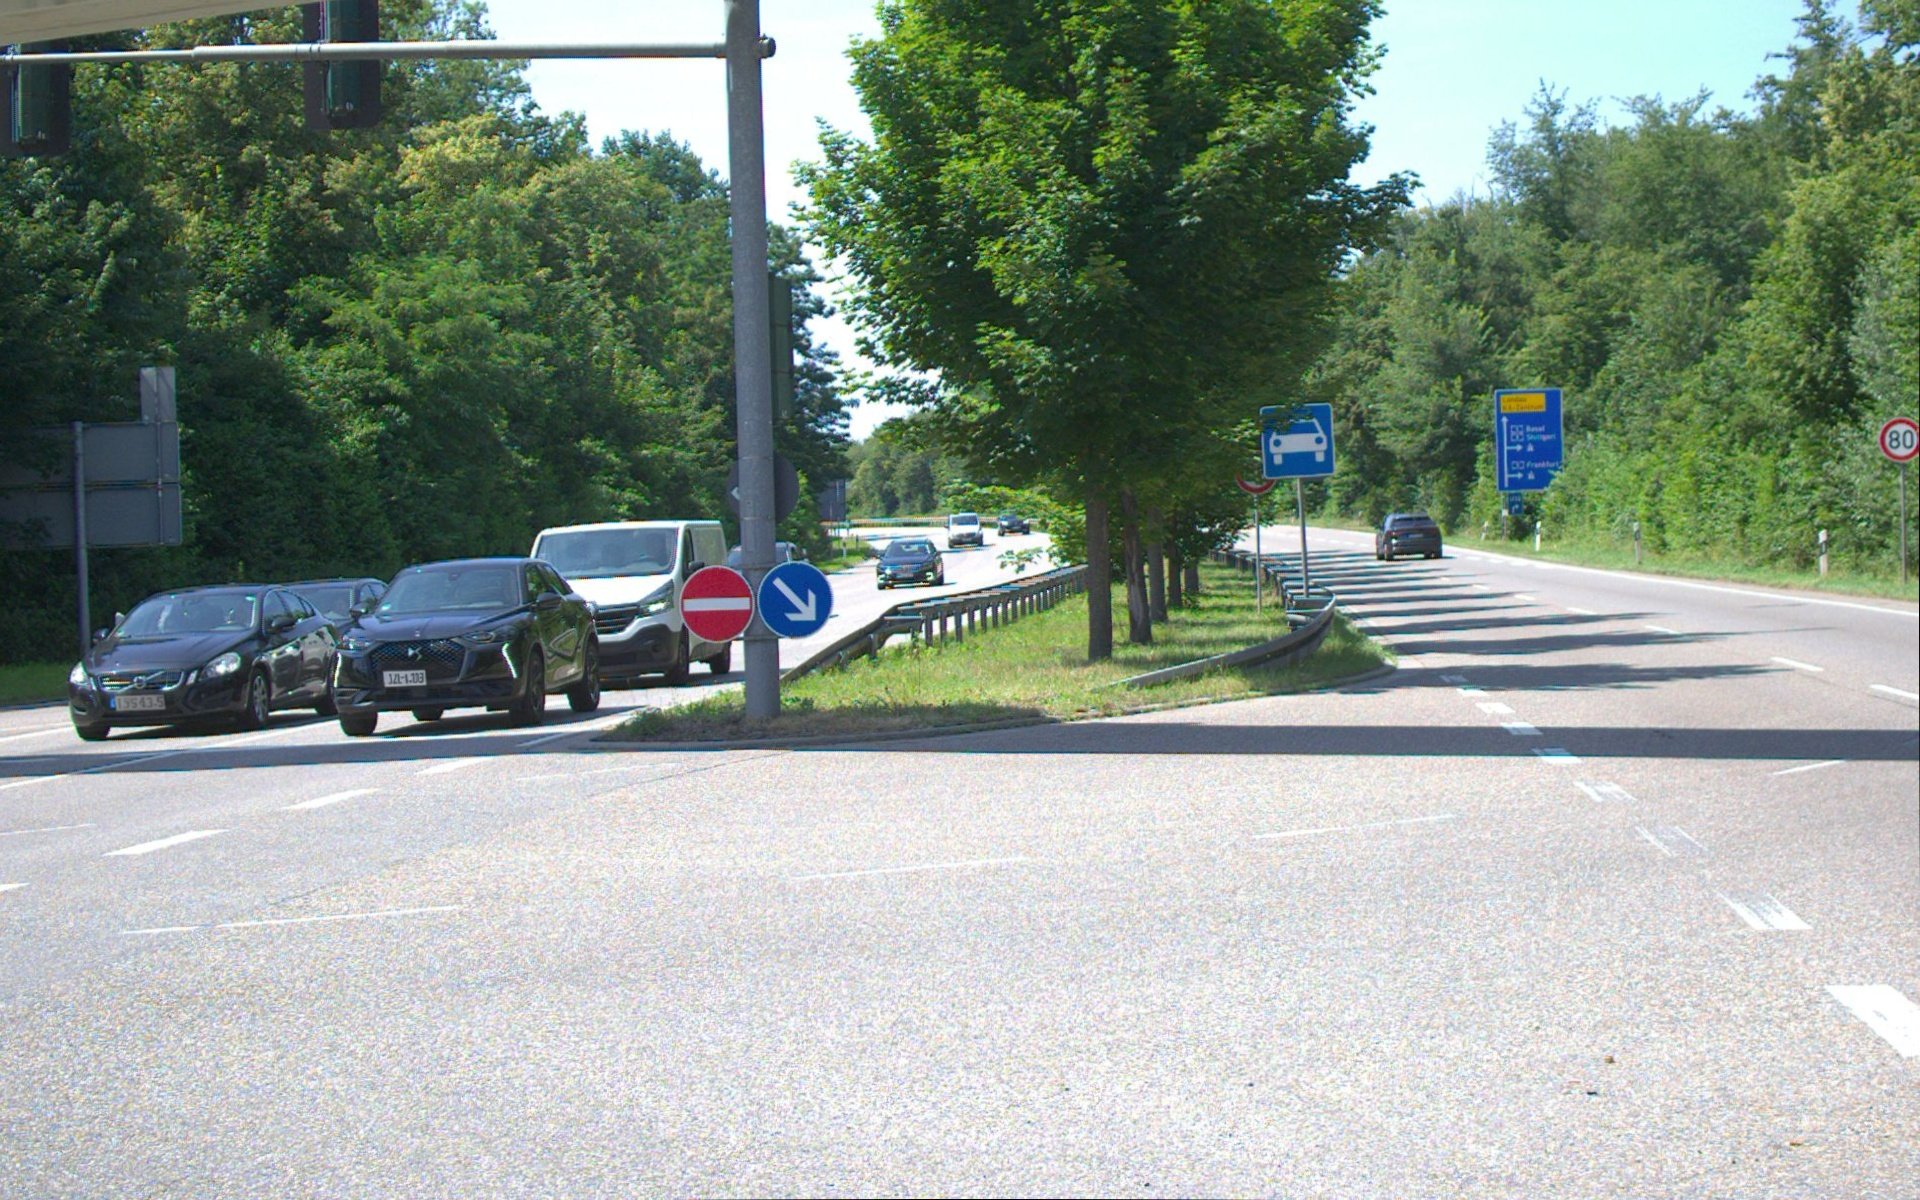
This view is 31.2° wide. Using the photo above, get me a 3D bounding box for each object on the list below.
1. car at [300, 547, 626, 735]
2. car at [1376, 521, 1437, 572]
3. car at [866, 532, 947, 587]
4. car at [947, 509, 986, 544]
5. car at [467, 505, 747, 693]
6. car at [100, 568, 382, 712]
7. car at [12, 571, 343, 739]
[{"bbox_3d":[-4.476,0.324,31.585,1.994,1.518,4.027,-3,1,5],"label":"car"},{"bbox_3d":[15.790,-1.893,121.311,2.042,1.693,5.085,-1,1,8],"label":"car"},{"bbox_3d":[-1.637,-1.266,106.410,2.008,1.596,4.054,-3,1,5],"label":"car"},{"bbox_3d":[0.358,-4.056,189.600,1.993,1.744,4.000,-4,0,-1],"label":"car"},{"bbox_3d":[-4.093,-0.060,40.918,2.209,1.986,5.487,-3,1,5],"label":"car"},{"bbox_3d":[-8.189,0.421,39.534,2.008,1.455,4.054,-3,1,5],"label":"car"},{"bbox_3d":[-7.742,0.508,34.425,2.008,1.455,4.054,-3,1,5],"label":"car"}]
